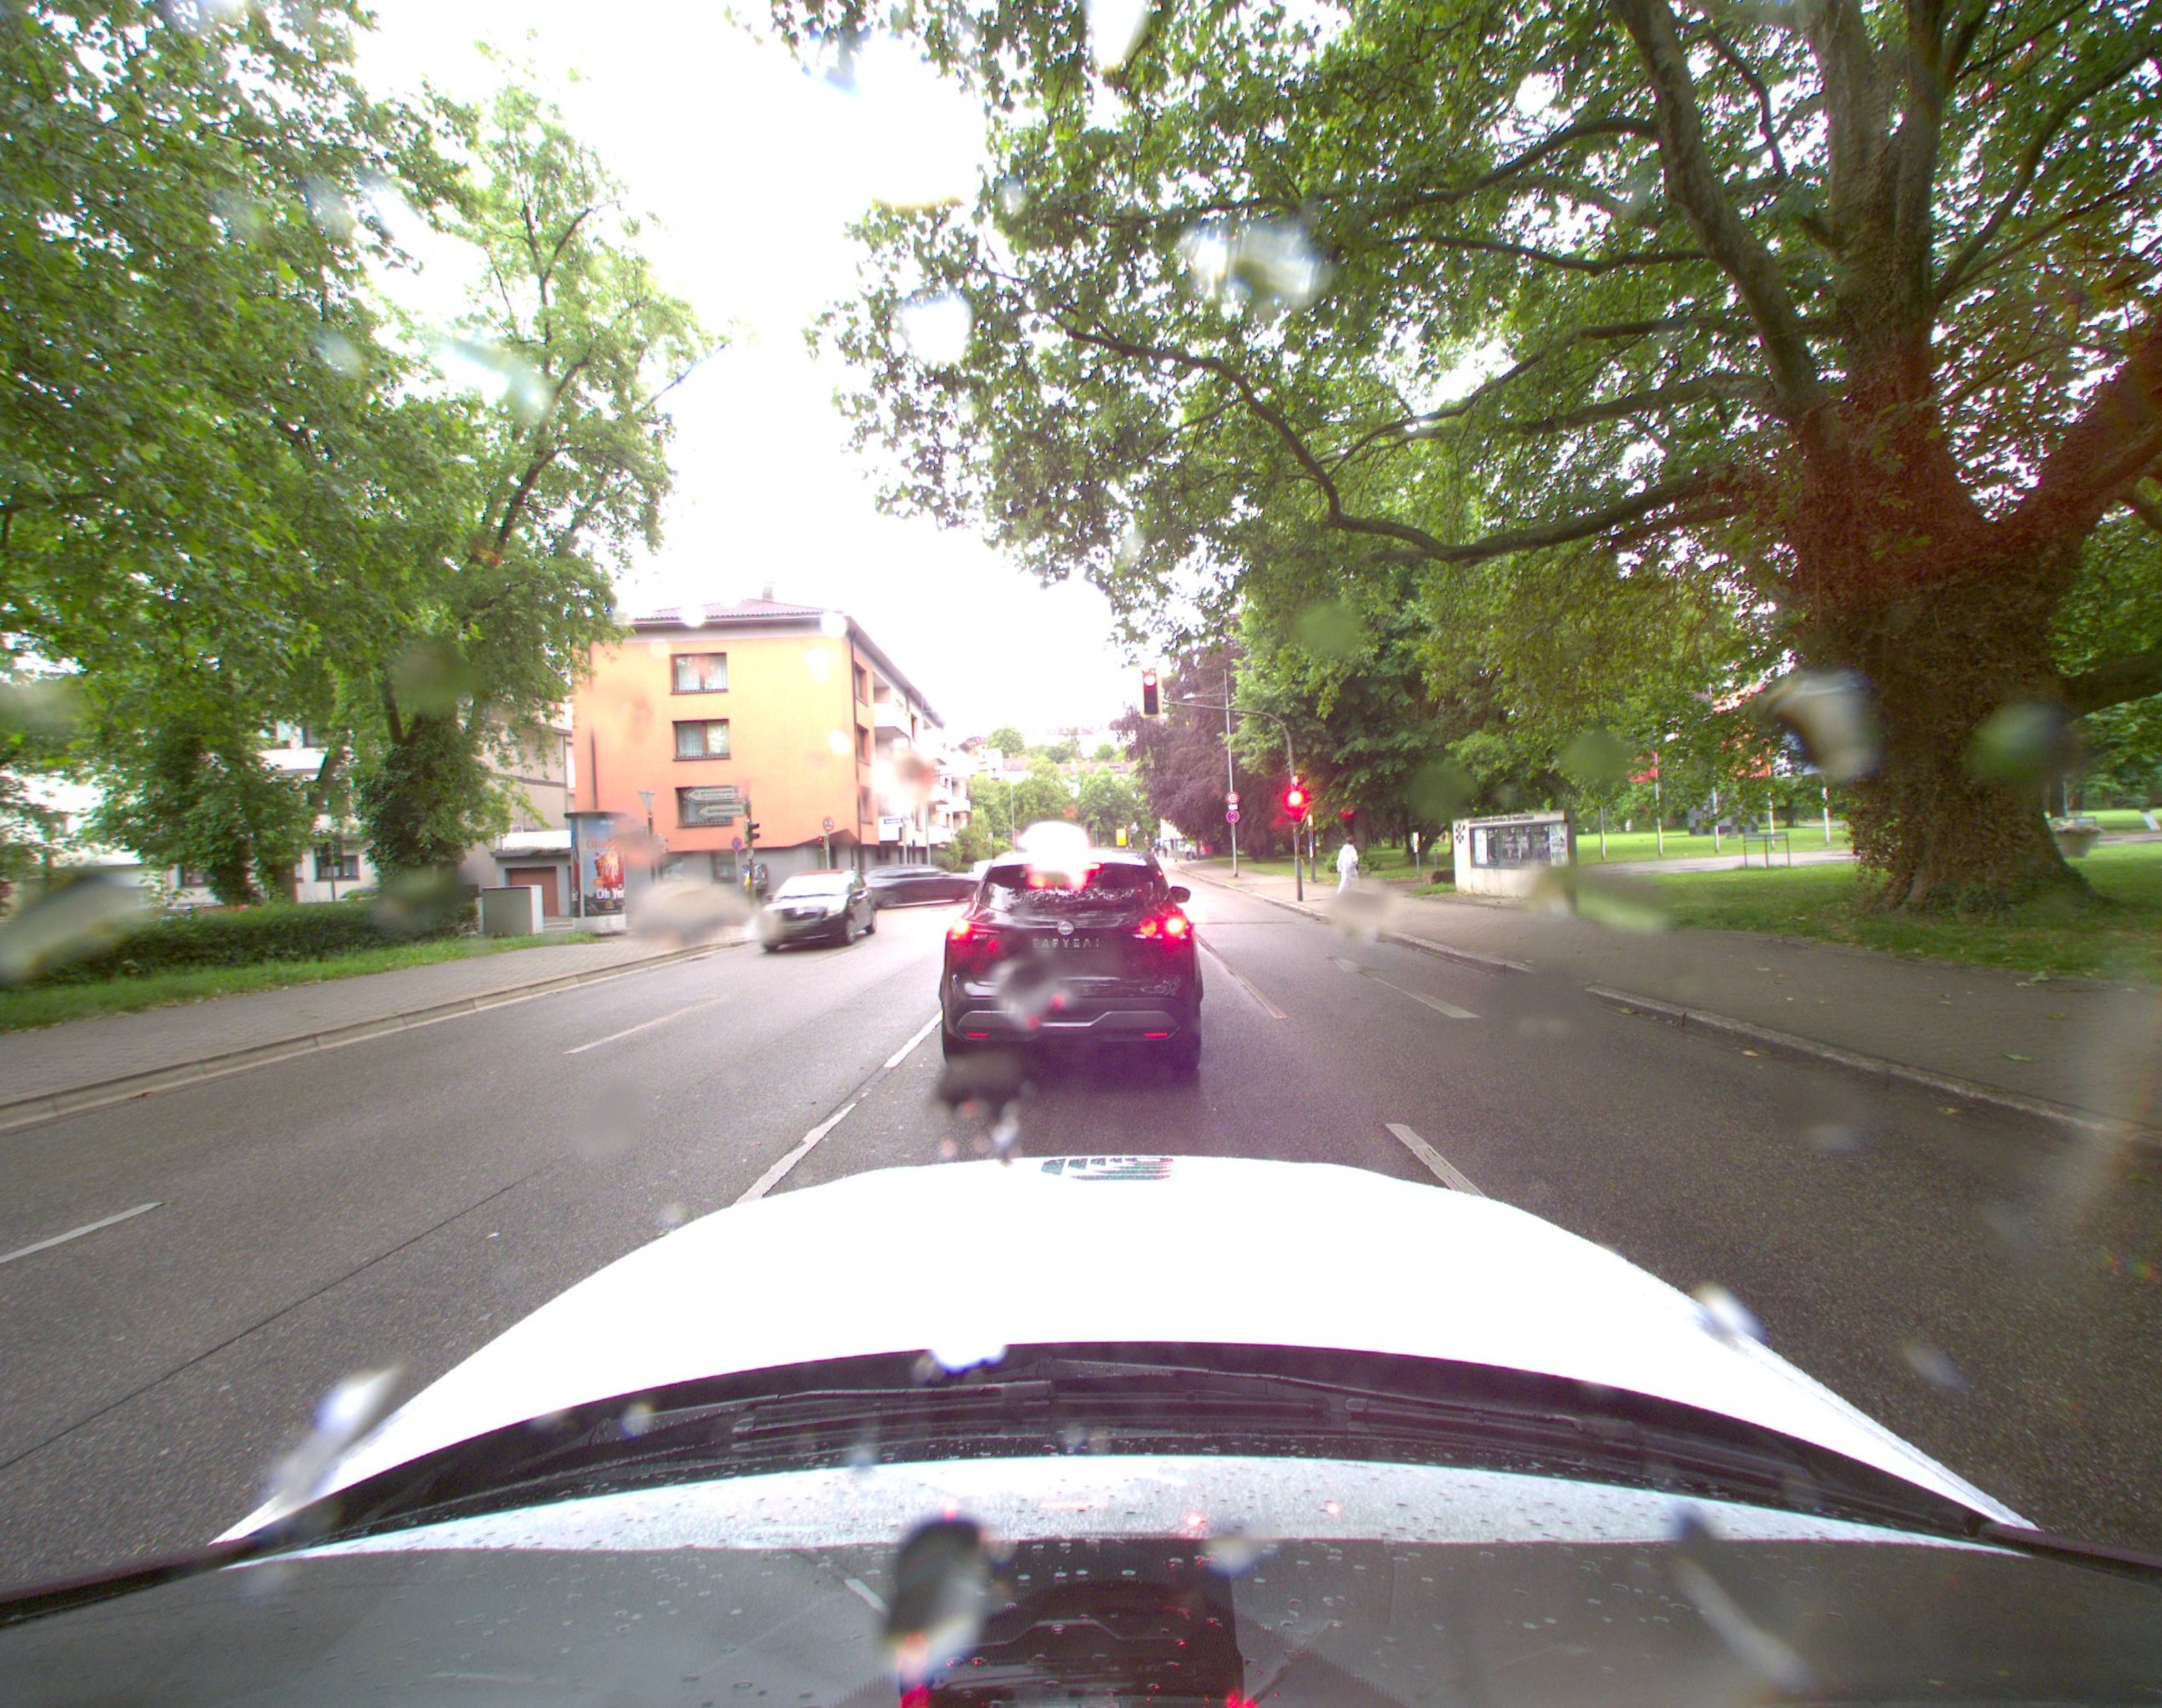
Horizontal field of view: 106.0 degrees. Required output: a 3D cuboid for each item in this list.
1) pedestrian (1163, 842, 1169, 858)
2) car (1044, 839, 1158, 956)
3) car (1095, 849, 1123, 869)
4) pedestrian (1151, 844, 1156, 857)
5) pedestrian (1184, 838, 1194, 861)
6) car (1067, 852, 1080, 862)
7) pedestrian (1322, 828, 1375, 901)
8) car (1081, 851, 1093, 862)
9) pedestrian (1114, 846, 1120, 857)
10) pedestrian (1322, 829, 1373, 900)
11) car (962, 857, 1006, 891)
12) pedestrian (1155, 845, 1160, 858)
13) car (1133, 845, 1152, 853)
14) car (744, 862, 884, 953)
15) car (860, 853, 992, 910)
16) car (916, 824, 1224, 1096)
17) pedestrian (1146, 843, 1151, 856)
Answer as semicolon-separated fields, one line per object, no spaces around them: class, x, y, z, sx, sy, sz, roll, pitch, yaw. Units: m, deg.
pedestrian;9.919;-0.434;95.251;0.504;1.802;0.623;-3;0;22
car;0.376;0.674;14.612;1.692;1.745;3.642;-3;0;2
car;2.200;0.398;64.839;1.821;1.403;4.646;-4;0;-3
pedestrian;10.319;-0.530;116.130;0.506;1.802;0.660;-3;0;6
pedestrian;9.749;-0.406;73.791;0.722;2.013;0.852;-3;0;2
car;-1.294;0.487;136.081;1.963;1.532;3.969;-3;0;2
pedestrian;7.244;0.281;22.040;1.035;1.876;0.656;-5;0;-9
car;0.951;0.399;123.106;1.628;1.532;3.969;-3;0;2
pedestrian;5.975;-0.394;135.163;0.503;1.673;0.663;-3;0;29
pedestrian;7.448;0.284;22.788;1.035;1.876;0.656;-5;0;-9
car;-4.856;0.984;41.290;1.791;1.533;3.865;-3;0;-2
pedestrian;10.895;-0.335;115.720;0.507;1.802;0.619;-3;0;0
car;12.315;-0.989;162.877;1.974;1.735;4.025;-1;-1;39
car;-5.394;1.007;16.981;1.792;1.533;3.862;-3;0;-4
car;-5.559;0.952;29.292;4.322;1.678;1.713;-3;0;-26
car;-0.002;0.661;7.122;1.906;1.680;4.002;-1;0;2
pedestrian;9.609;-0.651;116.219;0.506;1.802;0.620;-3;0;1
